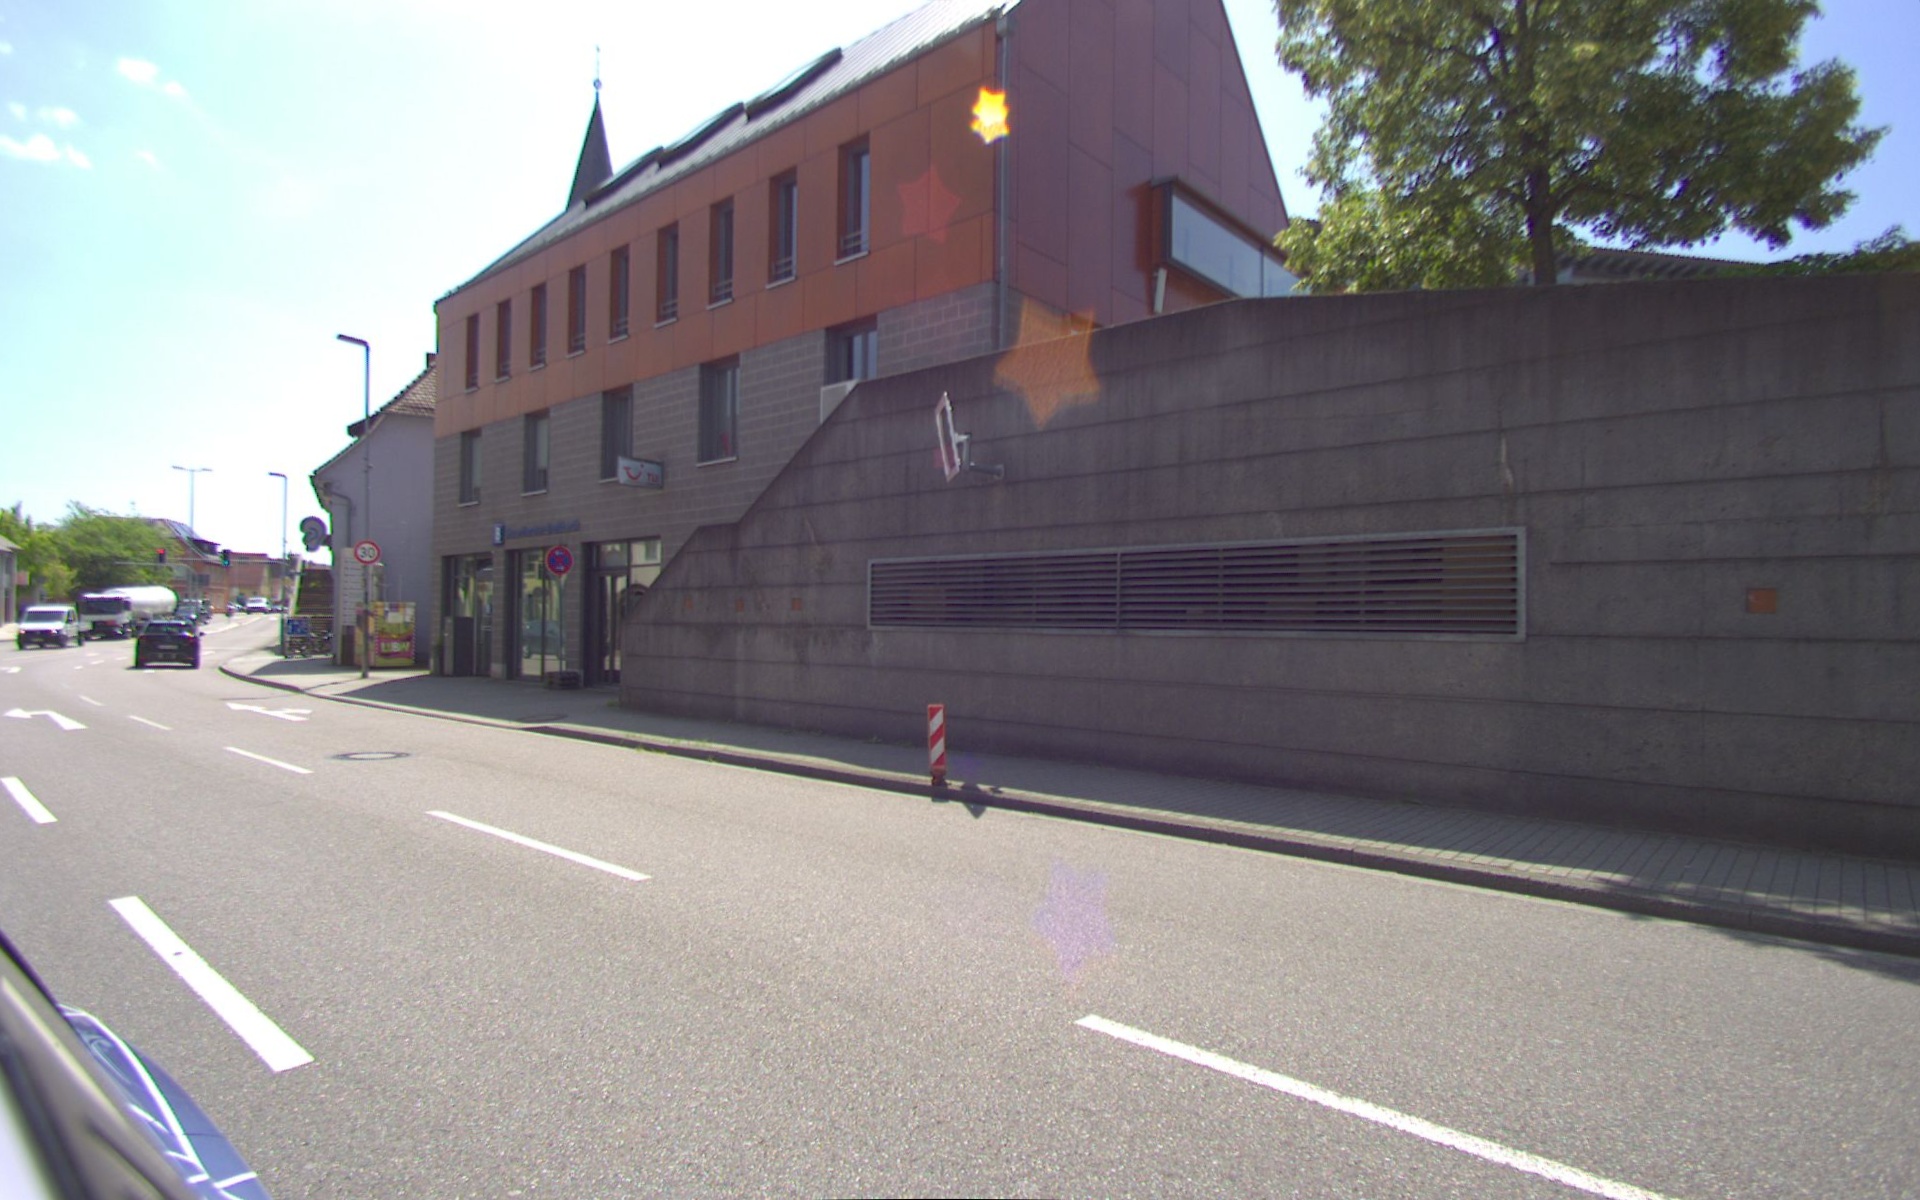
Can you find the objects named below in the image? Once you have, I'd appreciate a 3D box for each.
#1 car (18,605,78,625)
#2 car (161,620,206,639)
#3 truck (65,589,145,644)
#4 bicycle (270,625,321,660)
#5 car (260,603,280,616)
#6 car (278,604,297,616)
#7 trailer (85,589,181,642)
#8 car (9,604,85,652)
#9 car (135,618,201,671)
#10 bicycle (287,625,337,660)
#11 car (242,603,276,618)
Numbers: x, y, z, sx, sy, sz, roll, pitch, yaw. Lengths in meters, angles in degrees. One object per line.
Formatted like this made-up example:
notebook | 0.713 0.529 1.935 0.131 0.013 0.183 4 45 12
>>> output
car | -81.573 1.306 90.565 3.699 1.723 1.730 -1 0 -32
car | -66.320 2.507 86.514 1.978 1.643 4.593 1 -1 -23
truck | -57.554 1.129 68.276 2.801 3.597 5.486 1 -1 -26
bicycle | -25.588 1.629 39.009 0.571 1.258 1.828 -3 0 6
car | -92.720 1.278 136.044 1.979 1.643 4.591 1 -2 -31
car | -100.932 1.535 151.980 1.978 1.643 4.592 1 -1 -29
trailer | -60.384 1.205 74.245 2.790 3.597 11.001 1 -1 -25
car | -50.919 1.554 56.559 2.139 2.583 4.839 1 -2 -30
car | -26.831 1.460 34.385 1.648 1.670 4.026 1 -2 -37
bicycle | -24.944 1.621 39.002 0.571 1.258 1.828 -3 0 6
car | -79.725 1.202 115.117 1.978 1.643 4.592 0 -1 -18
